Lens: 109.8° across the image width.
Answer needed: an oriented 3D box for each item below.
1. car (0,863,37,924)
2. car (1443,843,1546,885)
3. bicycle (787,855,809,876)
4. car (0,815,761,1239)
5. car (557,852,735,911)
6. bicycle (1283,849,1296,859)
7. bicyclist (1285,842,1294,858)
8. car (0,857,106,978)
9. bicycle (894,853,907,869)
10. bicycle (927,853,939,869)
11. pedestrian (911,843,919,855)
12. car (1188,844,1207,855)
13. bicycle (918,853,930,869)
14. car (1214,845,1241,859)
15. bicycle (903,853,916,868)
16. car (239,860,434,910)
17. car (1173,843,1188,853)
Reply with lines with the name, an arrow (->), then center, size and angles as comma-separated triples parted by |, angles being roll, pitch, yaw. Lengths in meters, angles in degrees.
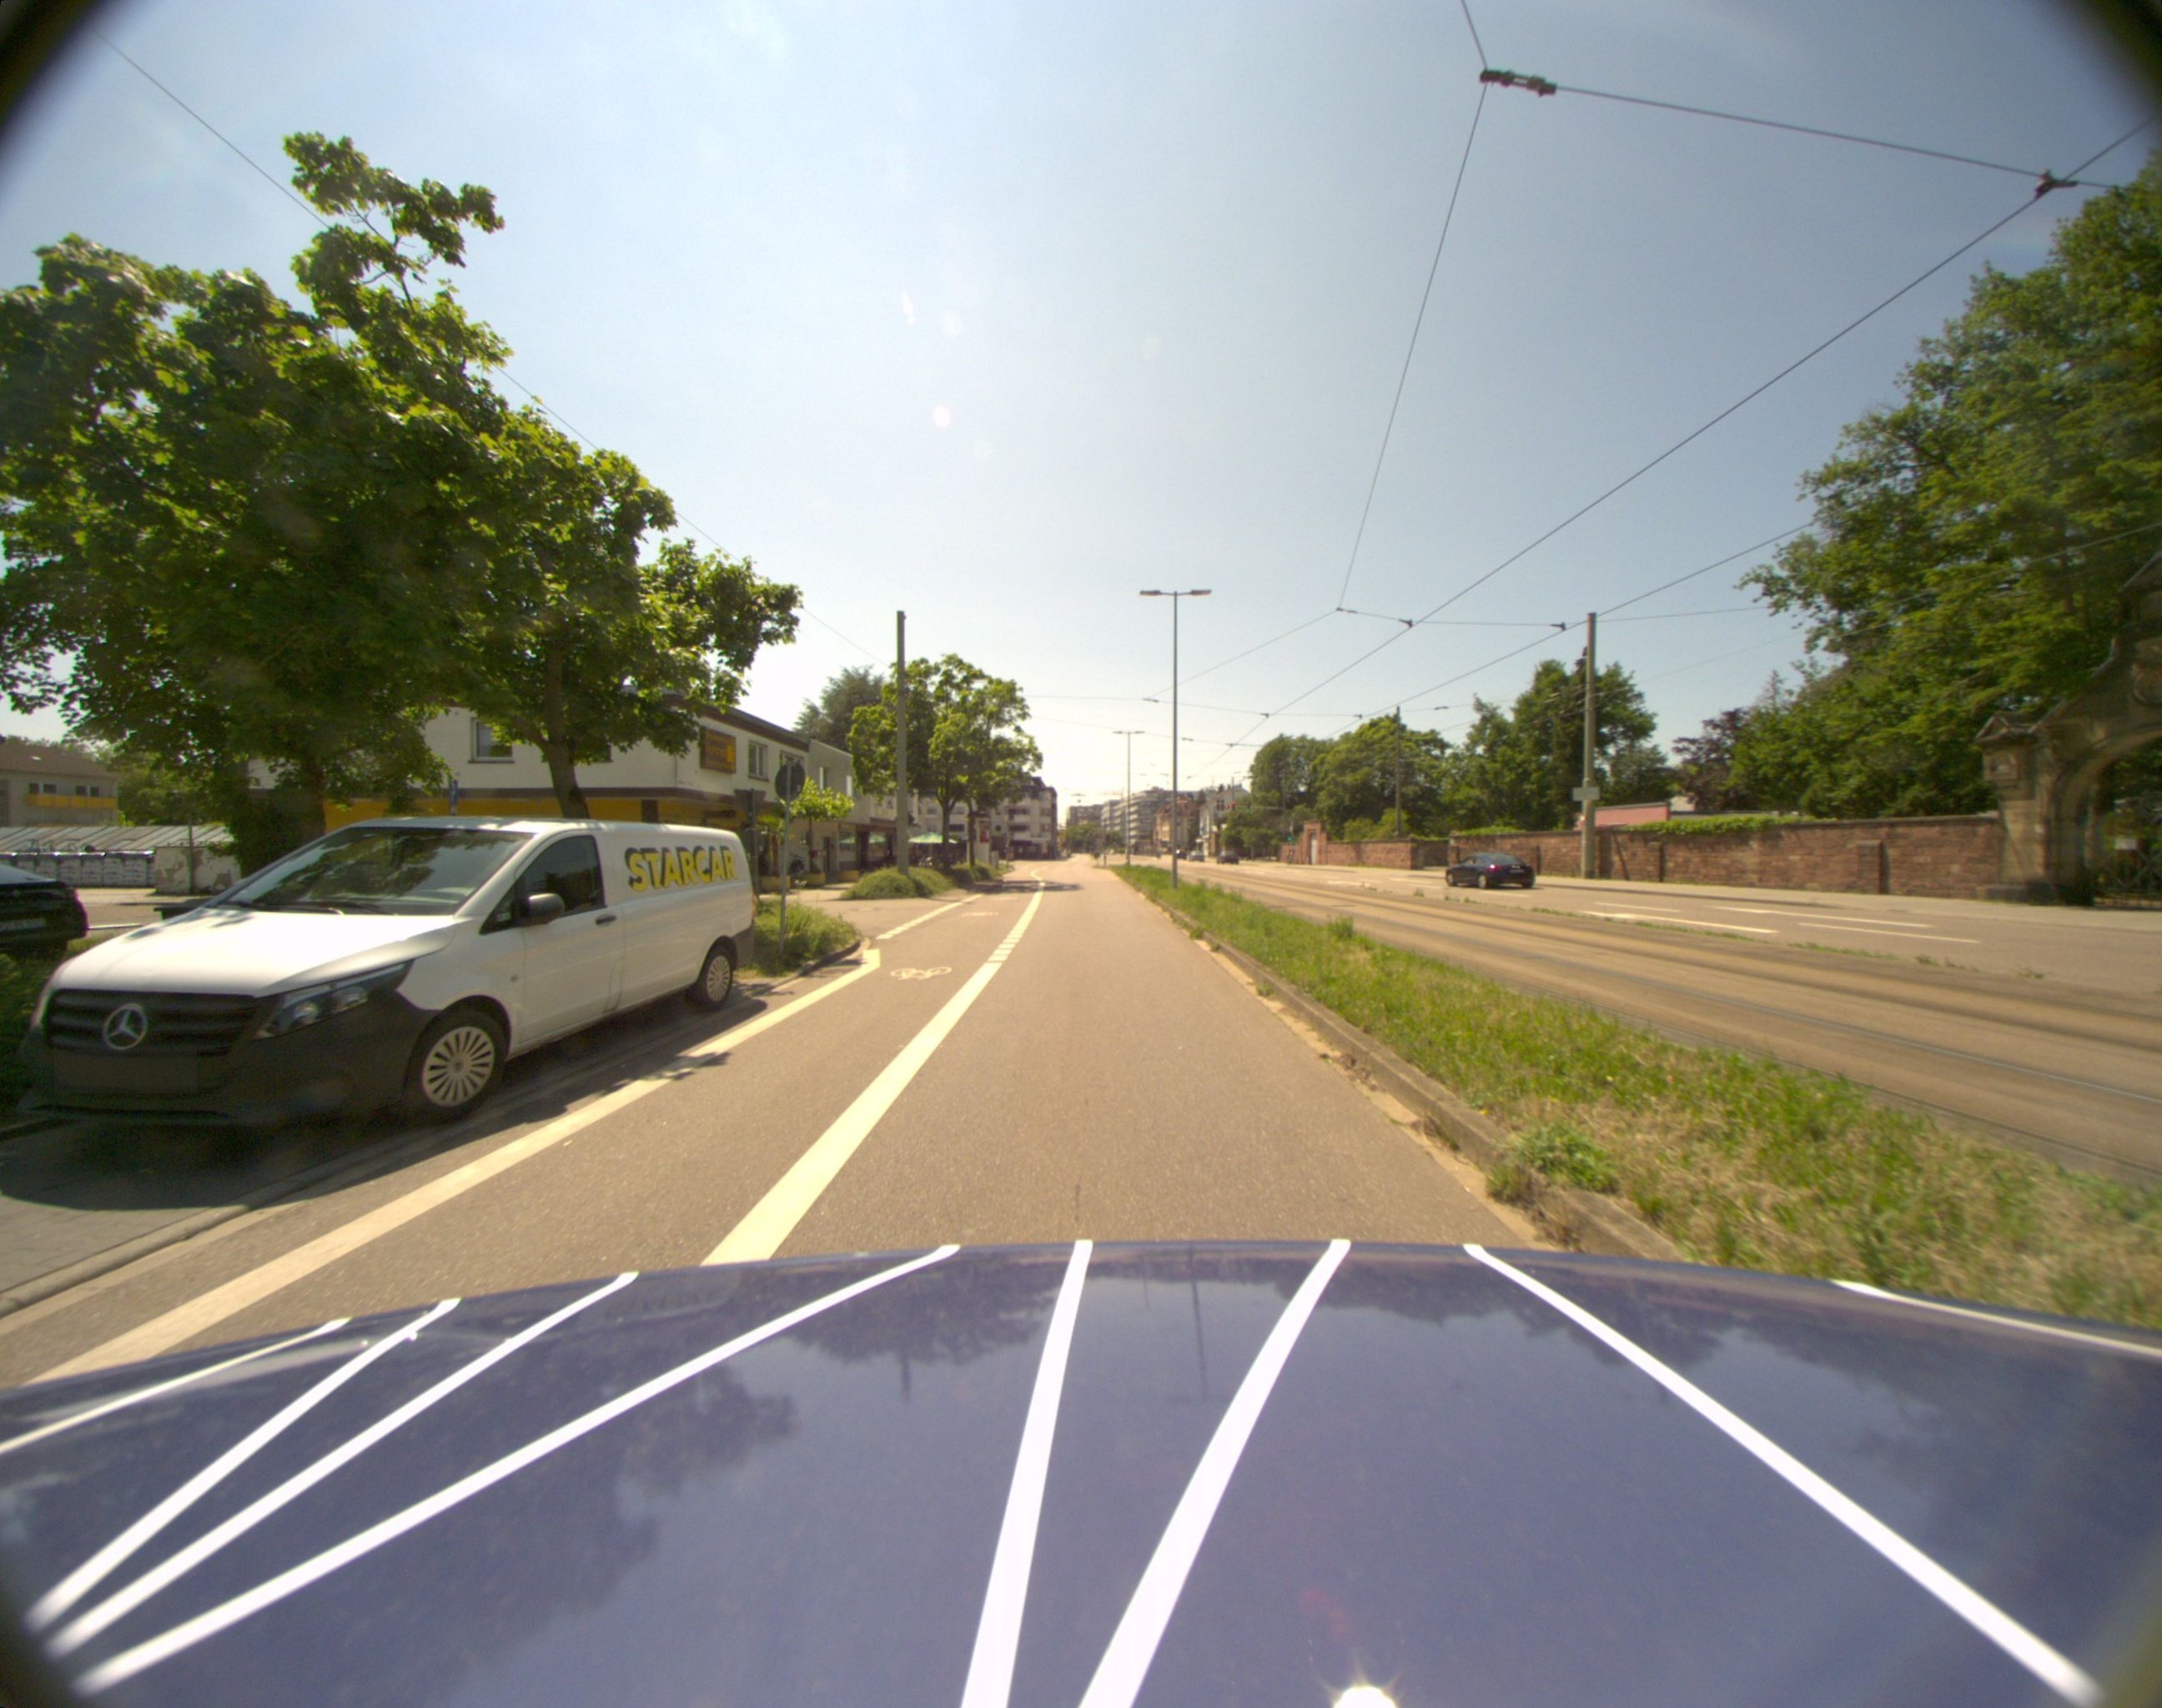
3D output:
car -> -27.574, 0.921, 17.815 | 3.989, 1.428, 1.632 | 1, 1, 1
car -> 15.646, 0.332, 29.000 | 1.760, 1.440, 4.123 | -2, 1, 2
bicycle -> -14.563, 0.576, 39.155 | 0.544, 1.062, 1.900 | 0, 1, -4
car -> -4.627, 0.755, 6.039 | 1.884, 1.906, 5.124 | 2, 1, 1
car -> -12.895, 0.784, 22.727 | 4.150, 1.601, 1.943 | -1, 1, -3
bicycle -> 19.740, -0.004, 71.978 | 0.654, 0.951, 2.114 | -1, 1, -1
bicyclist -> 19.740, -0.365, 71.998 | 0.654, 1.488, 0.662 | -1, 1, -1
car -> -15.538, 0.892, 9.564 | 4.210, 1.482, 1.678 | -3, 1, 0
bicycle -> -12.531, 0.483, 52.712 | 0.544, 1.062, 2.021 | 0, 1, -4
bicycle -> -10.262, 0.474, 52.666 | 0.544, 1.062, 2.021 | 0, 1, -4
pedestrian -> -22.662, -0.641, 104.001 | 0.806, 1.615, 0.943 | 0, 1, 6
car -> 15.819, -0.633, 103.200 | 1.845, 1.408, 4.710 | -3, 1, 1
bicycle -> -10.849, 0.489, 52.650 | 0.544, 1.062, 2.021 | 0, 1, -4
car -> 15.625, -0.259, 81.270 | 1.845, 1.408, 5.033 | -3, 1, 1
bicycle -> -11.930, 0.441, 52.787 | 0.544, 1.062, 2.021 | 0, 1, -4
car -> -22.317, 0.898, 22.900 | 4.149, 1.367, 1.748 | -1, 1, 1
car -> 15.874, -0.935, 121.397 | 1.845, 1.546, 4.465 | 0, 1, 0
